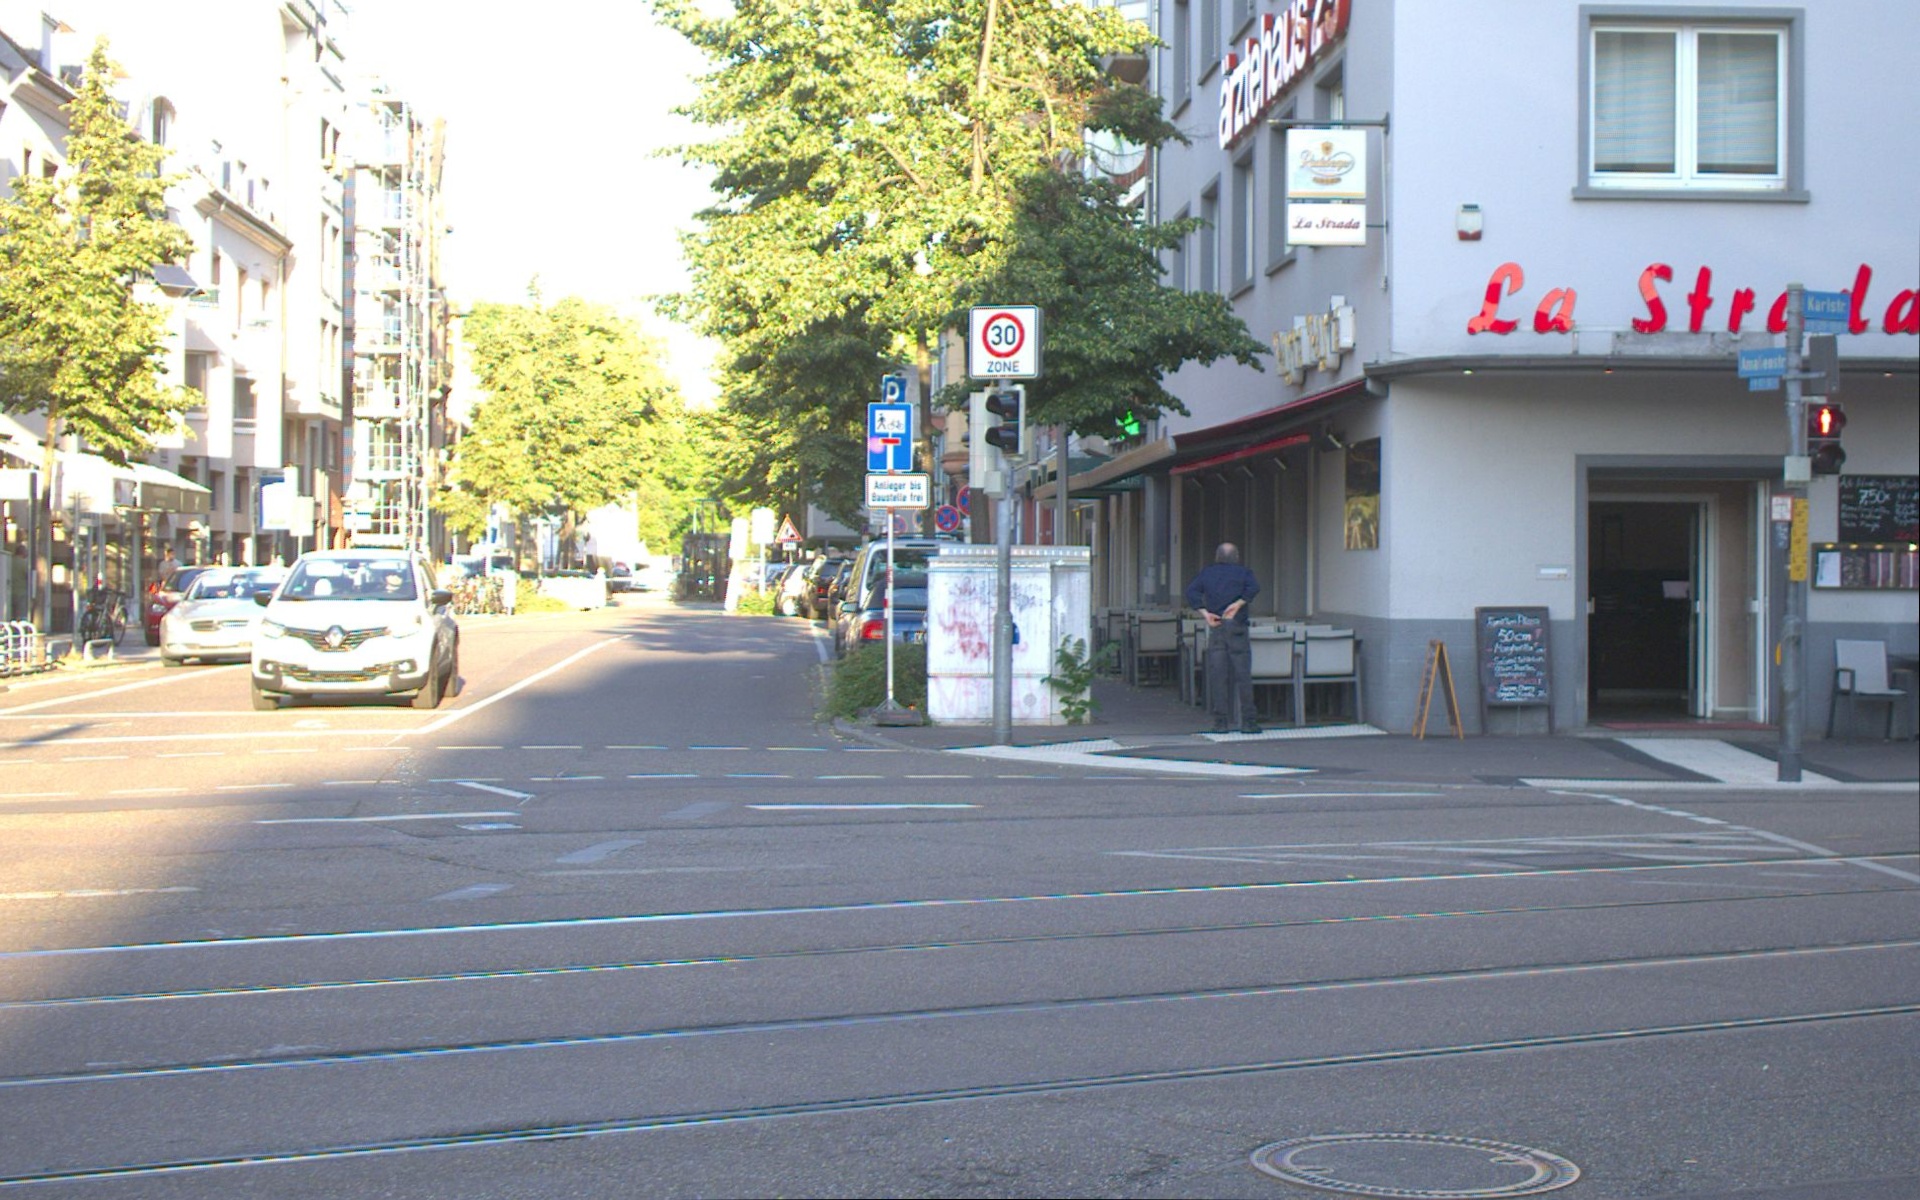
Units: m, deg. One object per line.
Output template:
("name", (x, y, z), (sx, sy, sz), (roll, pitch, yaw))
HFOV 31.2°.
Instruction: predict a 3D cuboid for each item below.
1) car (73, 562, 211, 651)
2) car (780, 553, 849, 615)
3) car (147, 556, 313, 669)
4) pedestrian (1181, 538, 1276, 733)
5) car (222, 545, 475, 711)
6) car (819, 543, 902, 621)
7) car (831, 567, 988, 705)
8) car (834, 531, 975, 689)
("car", (-14.765, 0.115, 62.214), (1.834, 1.551, 3.780), (-1, 0, -4))
("car", (-4.287, -0.488, 101.595), (1.851, 1.788, 4.000), (1, 0, 0))
("car", (-10.543, 0.152, 49.880), (1.834, 1.551, 3.780), (-1, 1, -4))
("pedestrian", (2.328, 0.304, 29.856), (0.711, 1.670, 0.703), (1, 0, -3))
("car", (-6.088, 0.269, 34.669), (2.107, 1.551, 4.013), (-1, 0, -4))
("car", (-2.335, -0.439, 81.521), (1.851, 1.788, 4.000), (1, 0, 0))
("car", (-0.537, 0.362, 37.983), (1.640, 1.439, 3.607), (1, 0, 0))
("car", (-0.699, 0.092, 44.500), (1.640, 1.867, 3.607), (3, 1, 0))
